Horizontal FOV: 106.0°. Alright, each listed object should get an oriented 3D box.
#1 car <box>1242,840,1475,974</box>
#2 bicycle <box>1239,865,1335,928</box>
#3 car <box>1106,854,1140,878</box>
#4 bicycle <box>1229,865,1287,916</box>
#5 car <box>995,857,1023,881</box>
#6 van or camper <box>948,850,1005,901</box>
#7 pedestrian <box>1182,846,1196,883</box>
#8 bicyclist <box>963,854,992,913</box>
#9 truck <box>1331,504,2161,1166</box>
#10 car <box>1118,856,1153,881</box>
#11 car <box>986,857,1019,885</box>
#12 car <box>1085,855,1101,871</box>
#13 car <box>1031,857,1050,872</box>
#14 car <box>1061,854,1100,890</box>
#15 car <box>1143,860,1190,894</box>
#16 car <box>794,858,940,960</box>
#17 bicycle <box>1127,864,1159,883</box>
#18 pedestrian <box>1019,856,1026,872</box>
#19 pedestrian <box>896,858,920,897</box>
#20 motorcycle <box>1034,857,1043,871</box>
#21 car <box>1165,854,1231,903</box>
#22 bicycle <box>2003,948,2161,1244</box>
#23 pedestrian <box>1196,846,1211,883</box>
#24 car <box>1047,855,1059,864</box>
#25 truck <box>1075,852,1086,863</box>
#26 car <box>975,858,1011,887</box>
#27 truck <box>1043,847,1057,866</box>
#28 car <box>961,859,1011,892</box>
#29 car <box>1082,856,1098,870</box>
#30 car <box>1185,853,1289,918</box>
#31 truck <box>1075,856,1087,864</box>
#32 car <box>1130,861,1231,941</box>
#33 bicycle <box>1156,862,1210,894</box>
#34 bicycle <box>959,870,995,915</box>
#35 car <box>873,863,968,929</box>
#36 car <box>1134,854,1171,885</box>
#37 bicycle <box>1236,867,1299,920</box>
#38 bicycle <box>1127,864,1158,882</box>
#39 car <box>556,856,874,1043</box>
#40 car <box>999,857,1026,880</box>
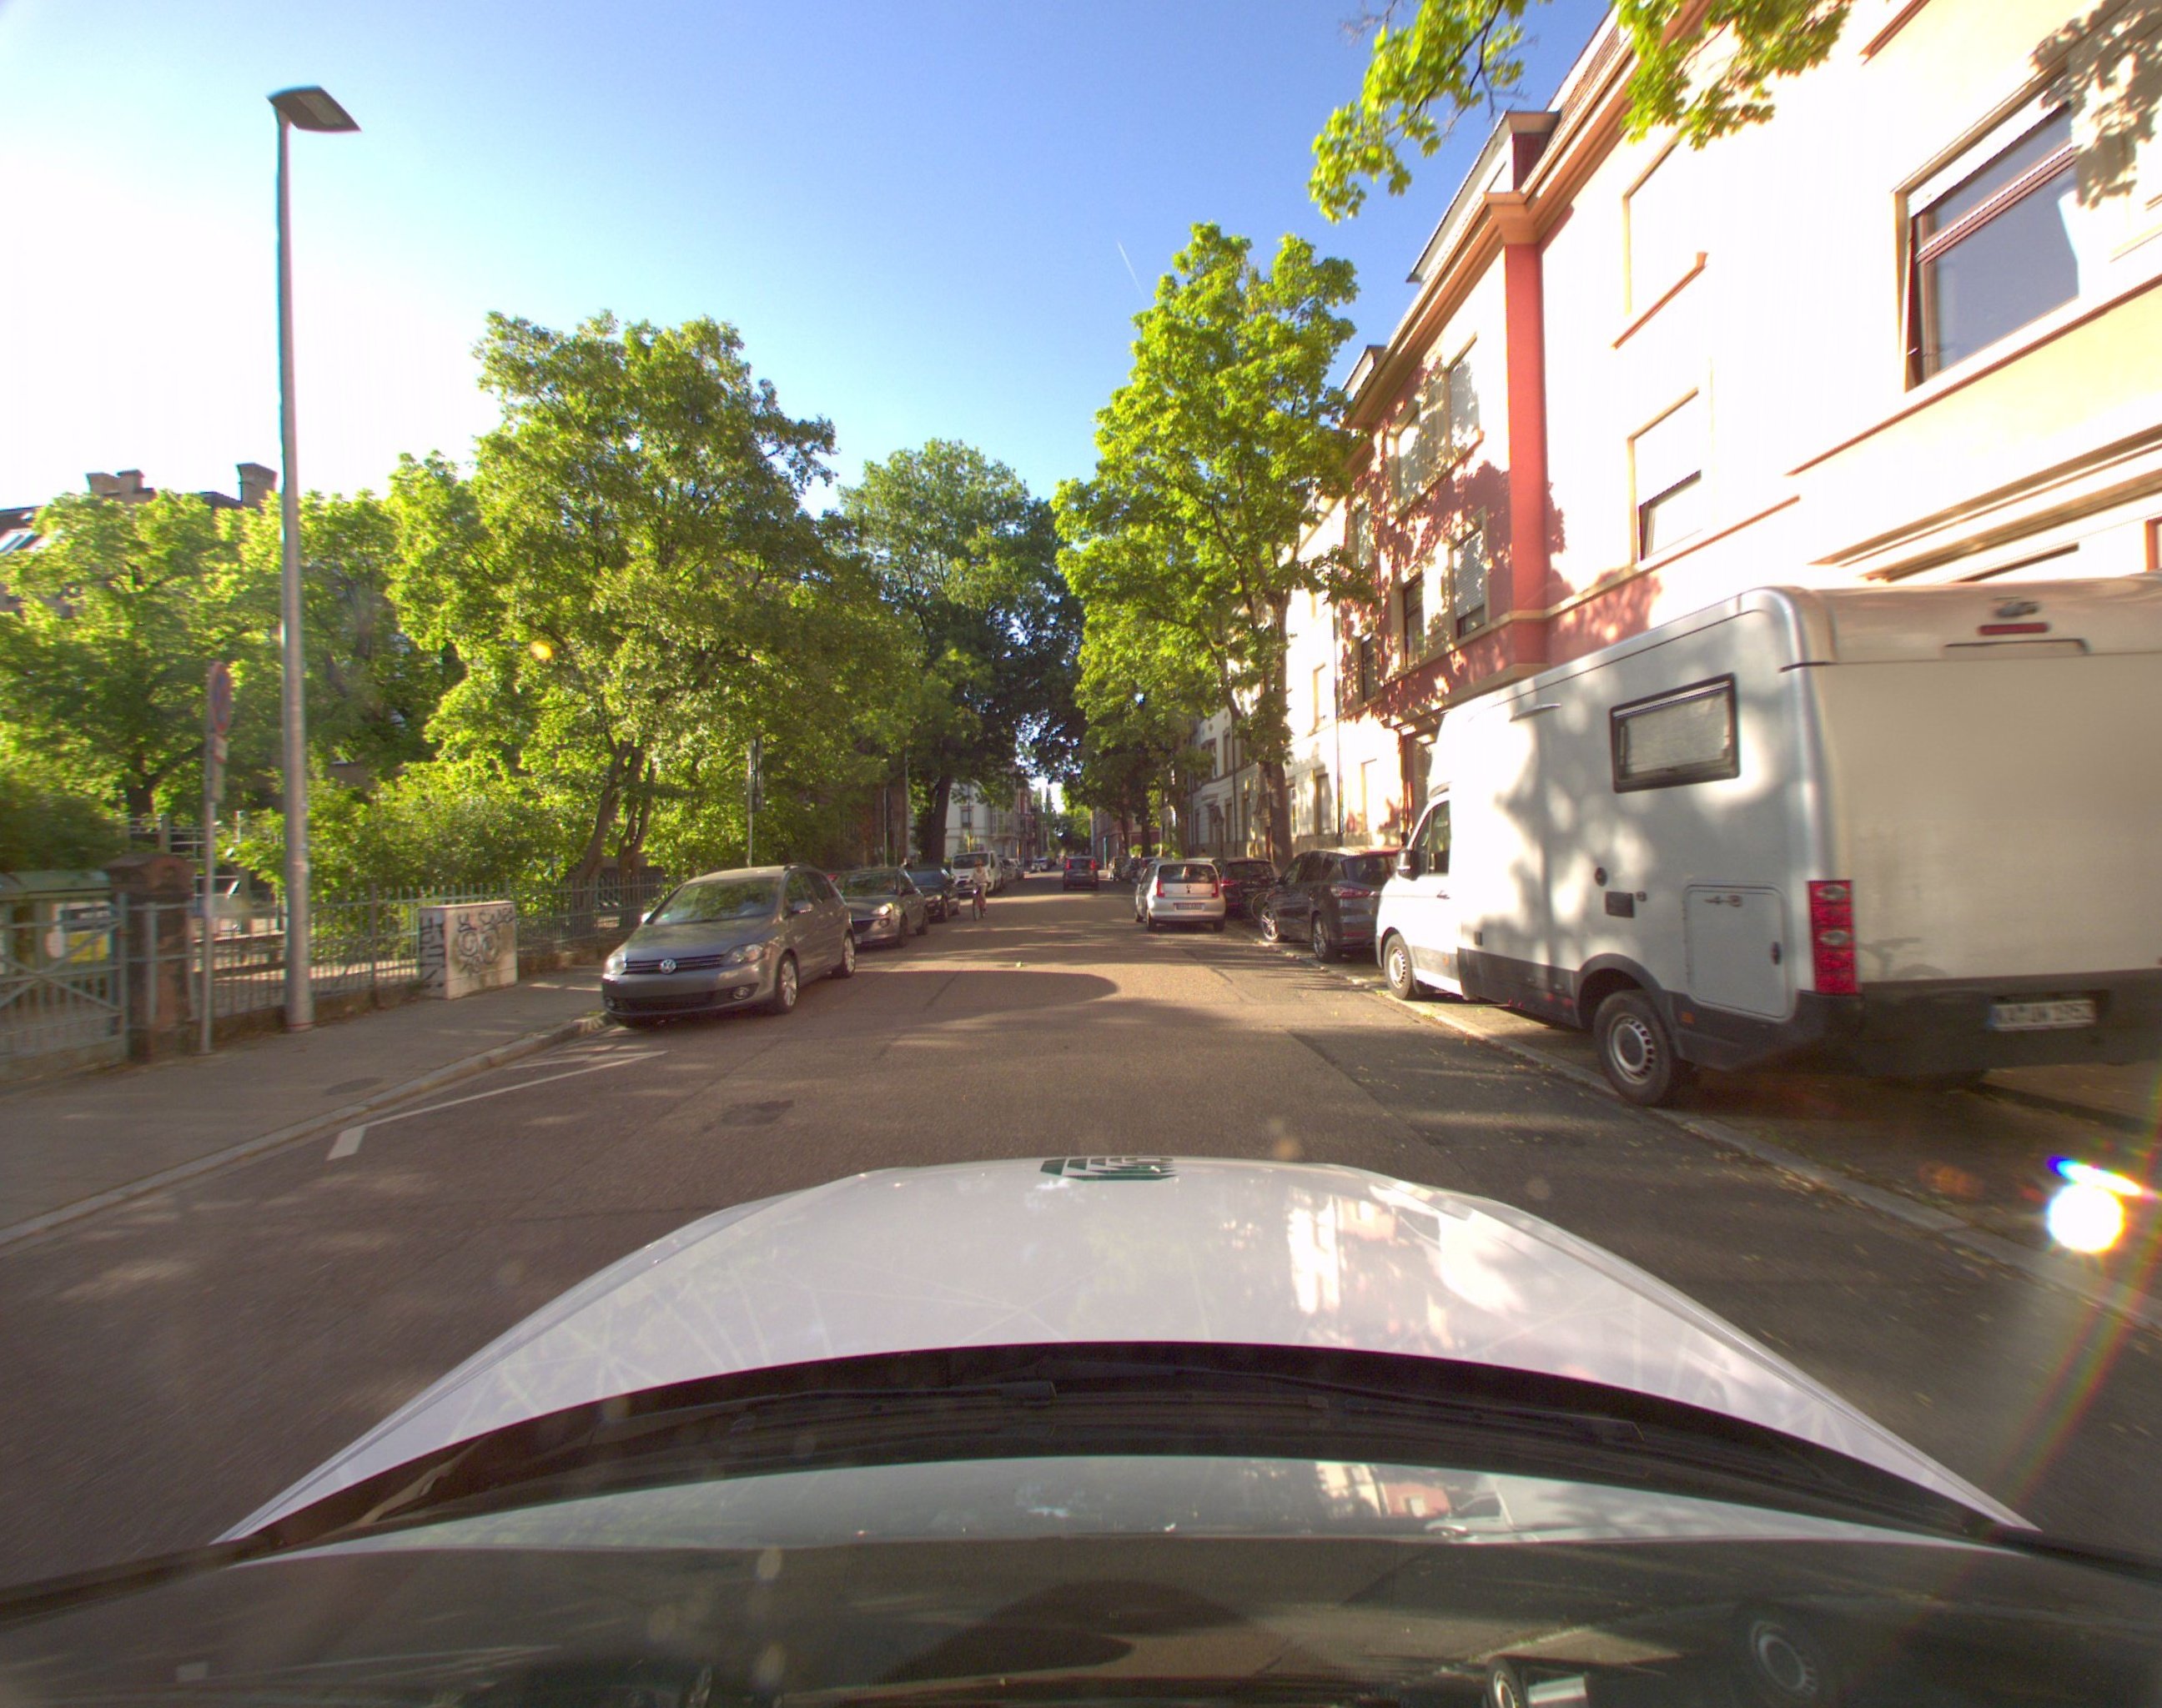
[{"bbox_3d":[4.177,0.700,13.264,1.881,1.716,4.939,-2,0,-3],"label":"car"},{"bbox_3d":[4.314,0.876,17.127,1.806,1.167,0.569,-4,0,-3],"label":"bicycle"},{"bbox_3d":[2.868,0.814,56.404,1.785,1.551,4.403,-1,0,-4],"label":"car"},{"bbox_3d":[3.957,0.818,18.221,1.197,1.075,0.298,-3,0,-2],"label":"bicycle"},{"bbox_3d":[-5.098,1.044,57.366,1.745,1.474,4.453,-5,0,-7],"label":"car"},{"bbox_3d":[-4.627,0.927,36.722,1.917,1.979,5.457,-5,0,-2],"label":"van or camper"},{"bbox_3d":[5.111,0.497,38.613,0.518,1.735,0.878,-1,0,0],"label":"pedestrian"},{"bbox_3d":[-2.680,0.755,21.141,0.649,1.509,0.625,-1,0,0],"label":"bicyclist"},{"bbox_3d":[4.255,-0.119,6.860,2.068,2.968,6.104,-4,0,-2],"label":"truck"},{"bbox_3d":[3.358,0.856,50.797,1.608,1.478,3.863,-2,0,-5],"label":"car"},{"bbox_3d":[-5.015,1.063,52.483,1.821,1.554,4.128,-5,0,-4],"label":"car"},{"bbox_3d":[1.235,0.937,86.898,1.658,1.669,3.756,0,0,0],"label":"car"},{"bbox_3d":[-4.435,1.100,89.187,1.791,1.431,3.924,-5,0,0],"label":"car"},{"bbox_3d":[-0.072,0.781,37.714,1.629,1.550,3.261,-1,0,-3],"label":"car"},{"bbox_3d":[3.808,0.988,36.772,1.617,1.394,4.155,-2,0,-1],"label":"car"},{"bbox_3d":[-3.993,0.940,15.914,1.671,1.572,4.150,-5,0,0],"label":"car"},{"bbox_3d":[3.529,1.121,46.220,1.764,1.039,0.606,-1,0,-2],"label":"bicycle"},{"bbox_3d":[-6.919,1.186,95.872,0.718,1.839,0.628,-1,0,10],"label":"pedestrian"},{"bbox_3d":[-7.193,0.972,33.887,0.878,1.577,0.529,-1,0,-1],"label":"pedestrian"},{"bbox_3d":[-4.515,1.078,85.888,0.697,1.460,1.744,-3,0,-11],"label":"motorcycle"},{"bbox_3d":[3.932,0.782,27.879,1.592,1.488,3.746,-2,0,-1],"label":"car"},{"bbox_3d":[4.775,0.908,3.194,1.701,1.000,0.705,-1,0,-8],"label":"bicycle"},{"bbox_3d":[5.785,0.500,38.467,0.593,1.701,0.689,-1,0,0],"label":"pedestrian"},{"bbox_3d":[-5.414,1.102,157.032,1.956,1.479,3.924,-5,0,0],"label":"car"},{"bbox_3d":[-0.178,0.735,155.629,1.988,1.992,3.998,-2,0,-1],"label":"truck"},{"bbox_3d":[-5.052,1.017,47.127,1.597,1.460,4.025,-4,0,-2],"label":"car"},{"bbox_3d":[-5.359,0.427,141.774,2.064,2.925,5.066,-5,0,0],"label":"truck"},{"bbox_3d":[-4.862,1.081,42.230,1.995,1.457,4.604,-4,0,-1],"label":"car"},{"bbox_3d":[0.990,0.960,91.385,1.658,1.505,3.756,0,0,0],"label":"car"},{"bbox_3d":[4.011,0.747,21.660,1.782,1.514,4.456,-1,0,-2],"label":"car"},{"bbox_3d":[-0.030,1.052,150.252,1.988,1.456,3.998,-2,0,-1],"label":"truck"},{"bbox_3d":[2.114,0.963,18.276,1.674,1.544,3.797,0,0,-2],"label":"car"},{"bbox_3d":[3.912,0.921,31.300,1.963,1.073,0.599,-3,0,-1],"label":"bicycle"},{"bbox_3d":[-2.681,0.976,21.183,0.662,1.077,1.685,-1,0,1],"label":"bicycle"},{"bbox_3d":[-4.234,1.046,22.204,1.710,1.395,4.775,-5,0,-2],"label":"car"},{"bbox_3d":[3.716,0.772,42.704,1.515,1.511,3.542,-2,0,-1],"label":"car"},{"bbox_3d":[4.246,0.896,18.577,1.304,1.140,0.327,-3,0,-2],"label":"bicycle"},{"bbox_3d":[3.571,1.097,47.443,1.710,0.949,0.733,-2,0,-1],"label":"bicycle"},{"bbox_3d":[-3.922,0.877,9.712,1.775,1.590,4.466,-4,0,-2],"label":"car"},{"bbox_3d":[-5.207,1.089,62.464,1.692,1.550,3.916,-5,0,-2],"label":"car"}]
